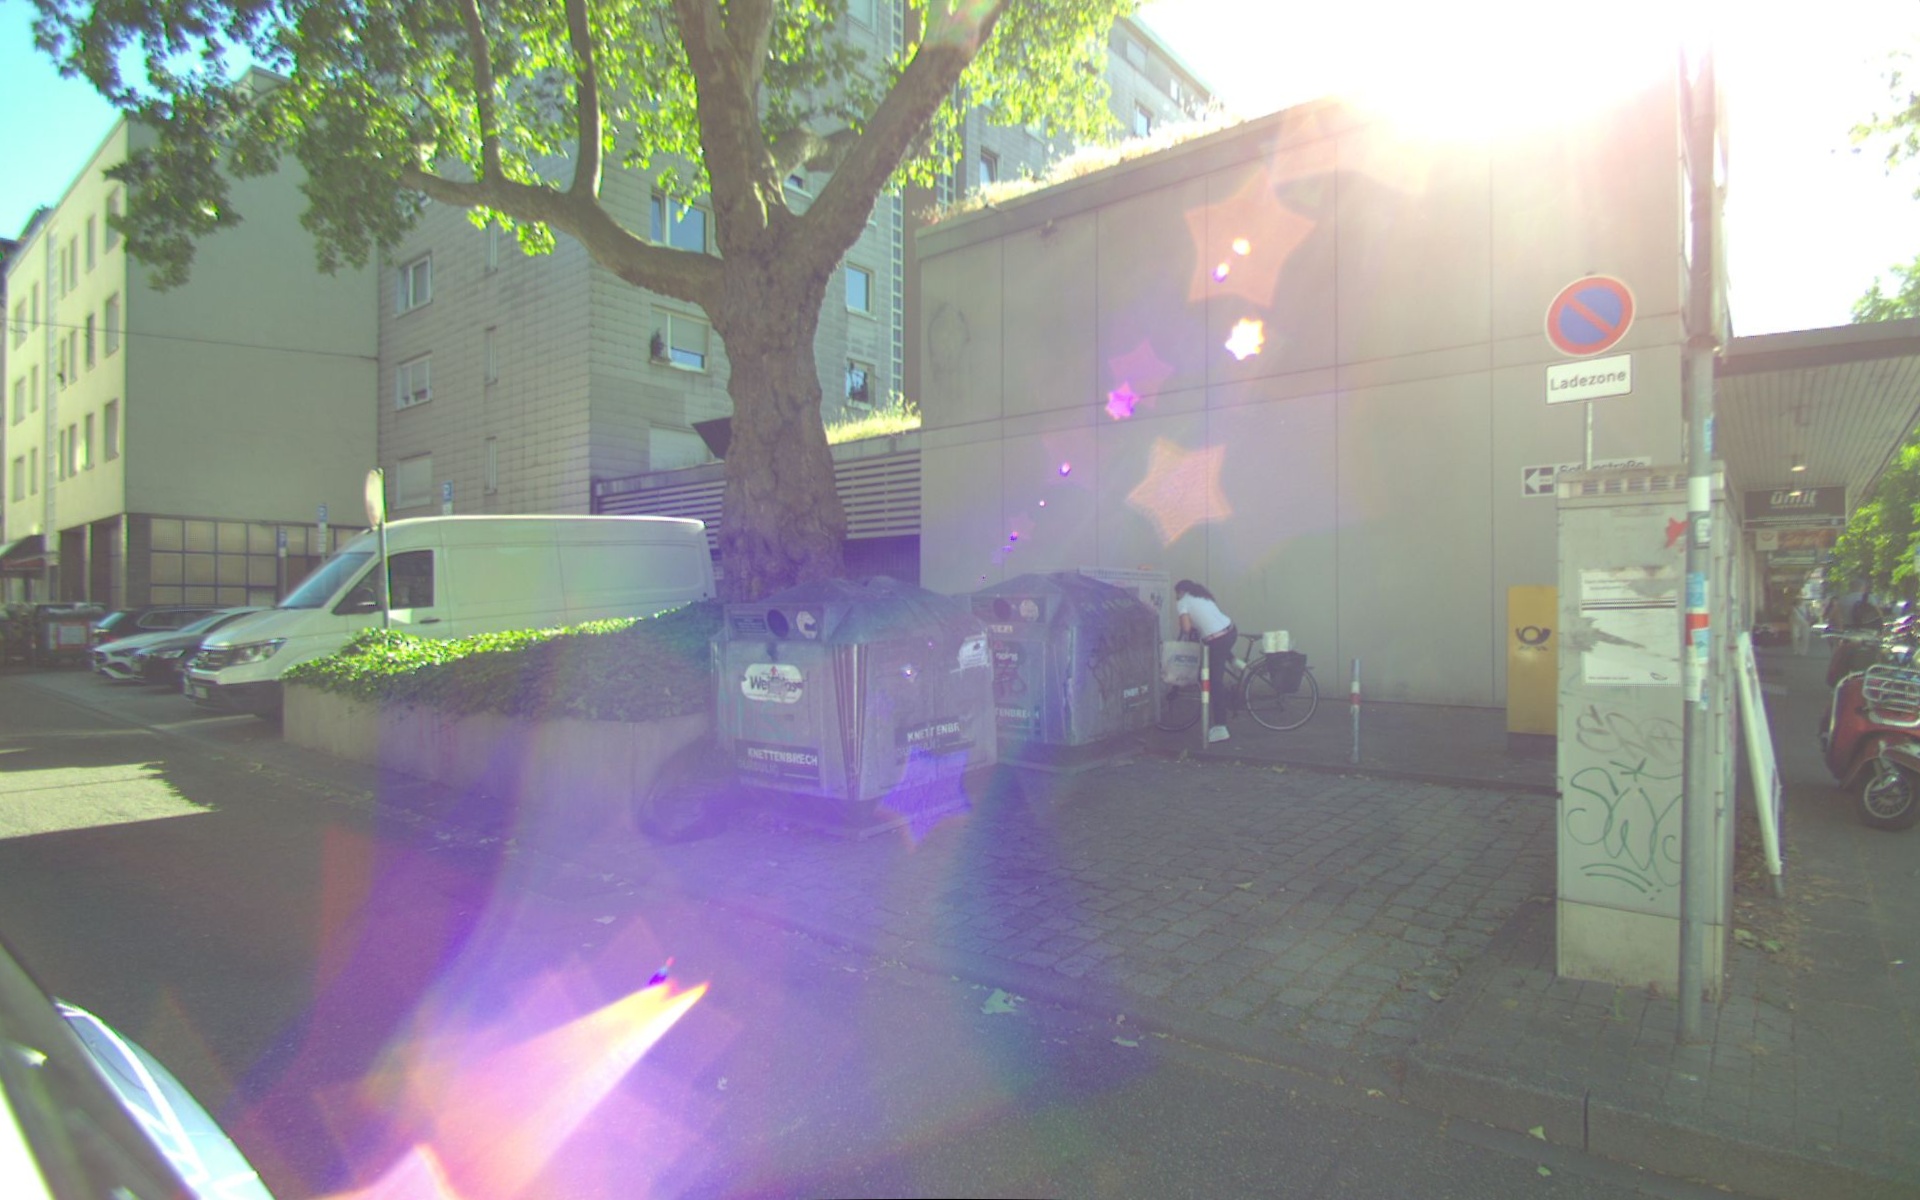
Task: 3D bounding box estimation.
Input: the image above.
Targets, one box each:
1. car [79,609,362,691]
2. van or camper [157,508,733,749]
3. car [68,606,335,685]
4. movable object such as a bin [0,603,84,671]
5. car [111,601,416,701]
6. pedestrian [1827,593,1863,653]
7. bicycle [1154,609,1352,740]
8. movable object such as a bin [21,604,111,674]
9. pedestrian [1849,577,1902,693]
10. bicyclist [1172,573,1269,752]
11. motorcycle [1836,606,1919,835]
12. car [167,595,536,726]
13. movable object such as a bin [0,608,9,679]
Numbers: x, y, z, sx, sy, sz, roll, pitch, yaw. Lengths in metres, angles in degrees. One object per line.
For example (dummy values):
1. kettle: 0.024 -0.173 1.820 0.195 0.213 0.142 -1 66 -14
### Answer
1. car: -14.769 0.934 20.471 1.595 1.474 4.368 -1 -1 34
2. van or camper: -6.626 0.165 14.118 1.999 2.593 6.836 -2 2 40
3. car: -16.372 0.929 22.081 1.694 1.545 4.368 -1 -1 34
4. movable object such as a bin: -21.363 0.845 23.544 1.515 1.512 1.207 -1 -1 38
5. car: -12.760 0.857 18.836 1.694 1.629 4.368 -1 -1 34
6. pedestrian: 22.940 0.592 26.228 0.689 1.533 0.524 1 0 42
7. bicycle: 2.751 0.698 9.686 1.698 1.162 0.803 -1 0 9
8. movable object such as a bin: -20.153 0.855 22.824 1.193 1.512 1.312 -1 -1 38
9. pedestrian: 13.736 0.510 15.196 0.566 1.678 0.702 1 0 41
10. bicyclist: 2.397 0.559 9.354 0.694 1.596 0.535 0 -1 -11
11. motorcycle: 5.788 0.651 6.132 0.669 1.189 1.896 -1 0 40
12. car: -8.815 0.765 15.011 1.697 1.545 4.361 -1 1 39
13. movable object such as a bin: -21.669 0.982 21.920 1.874 1.511 1.226 -1 3 38
